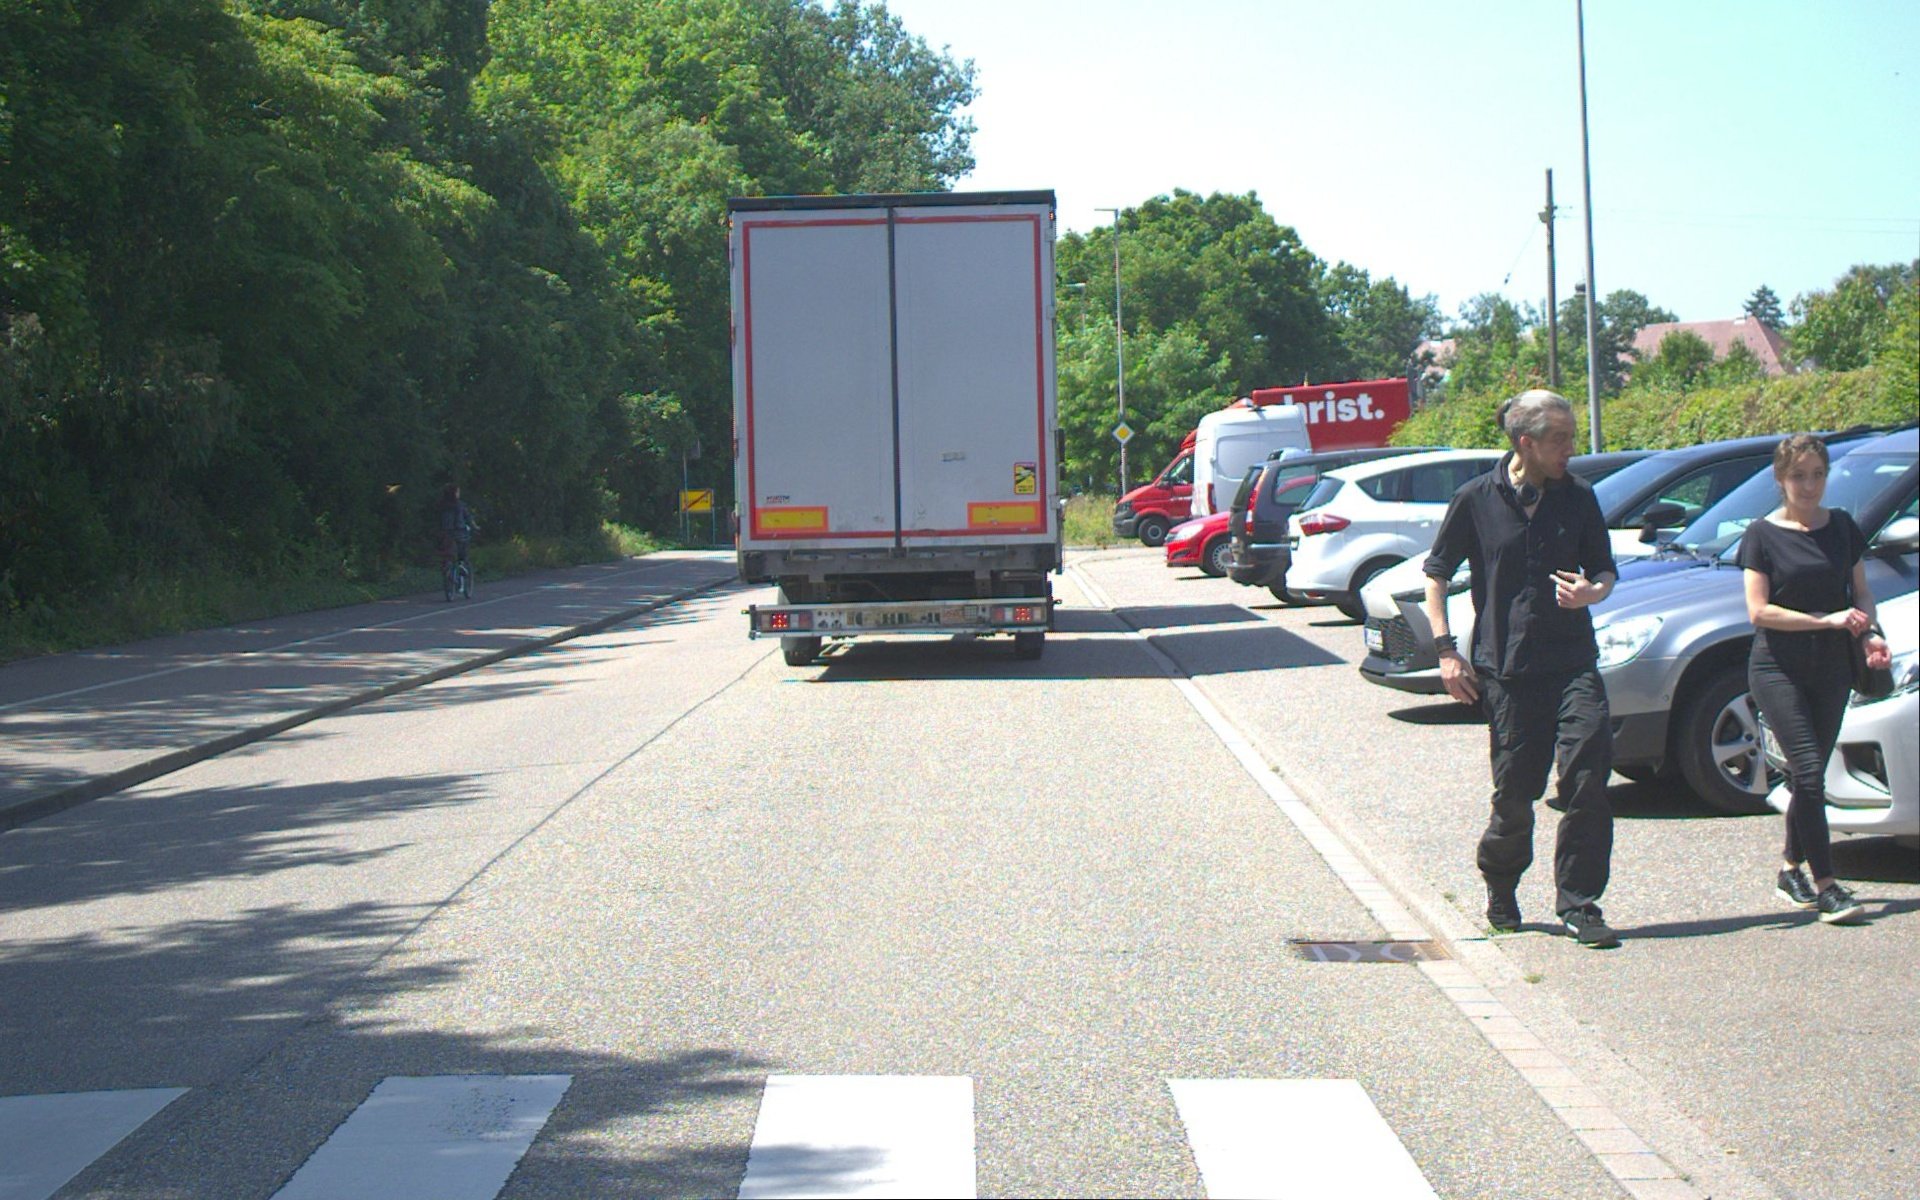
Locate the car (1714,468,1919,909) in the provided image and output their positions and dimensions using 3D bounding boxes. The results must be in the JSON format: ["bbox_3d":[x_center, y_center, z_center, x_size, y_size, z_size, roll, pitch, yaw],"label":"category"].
[{"bbox_3d":[4.802,0.147,12.575,3.690,1.445,1.610,-5,2,4],"label":"car"}]

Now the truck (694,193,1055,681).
[{"bbox_3d":[-0.539,-1.484,33.316,2.733,3.732,13.246,-1,2,1],"label":"truck"}]

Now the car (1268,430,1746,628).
[{"bbox_3d":[5.298,-0.711,33.672,4.276,1.572,1.766,-4,2,-1],"label":"car"}]

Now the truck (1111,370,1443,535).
[{"bbox_3d":[7.144,-3.321,77.309,7.140,3.428,2.329,-1,3,11],"label":"truck"}]

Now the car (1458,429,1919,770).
[{"bbox_3d":[4.598,-0.085,18.371,3.452,1.521,1.540,-6,2,-4],"label":"car"}]

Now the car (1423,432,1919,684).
[{"bbox_3d":[5.066,-0.320,24.227,3.388,1.498,1.588,-4,3,4],"label":"car"}]

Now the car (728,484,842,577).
[{"bbox_3d":[-3.283,-1.349,65.191,1.891,1.527,4.197,-6,2,-1],"label":"car"}]

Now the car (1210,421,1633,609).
[{"bbox_3d":[5.300,-0.988,39.880,4.452,1.798,1.953,-4,1,-3],"label":"car"}]

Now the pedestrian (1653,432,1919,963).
[{"bbox_3d":[2.776,0.291,11.259,0.778,1.605,0.896,-6,2,7],"label":"pedestrian"}]

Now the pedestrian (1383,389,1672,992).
[{"bbox_3d":[1.857,0.264,11.386,0.781,1.858,1.086,-4,2,7],"label":"pedestrian"}]

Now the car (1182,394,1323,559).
[{"bbox_3d":[5.319,-2.301,63.313,1.954,2.724,7.168,-4,2,2],"label":"car"}]

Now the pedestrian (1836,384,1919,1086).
[{"bbox_3d":[2.998,0.281,8.810,1.022,1.745,1.157,-4,2,33],"label":"pedestrian"}]

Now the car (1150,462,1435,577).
[{"bbox_3d":[5.068,-1.248,52.781,4.053,1.429,1.836,-4,2,-2],"label":"car"}]

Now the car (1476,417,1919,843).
[{"bbox_3d":[4.526,-0.011,15.456,3.960,1.634,1.664,-6,2,-5],"label":"car"}]

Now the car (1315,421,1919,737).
[{"bbox_3d":[4.389,-0.178,21.239,3.962,1.517,1.865,-6,2,-5],"label":"car"}]

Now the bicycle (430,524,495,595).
[{"bbox_3d":[-7.639,-0.626,52.857,0.561,1.023,1.839,-2,2,5],"label":"bicycle"}]

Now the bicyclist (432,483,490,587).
[{"bbox_3d":[-7.659,-1.001,52.826,0.648,1.559,0.837,-2,2,5],"label":"bicyclist"}]
